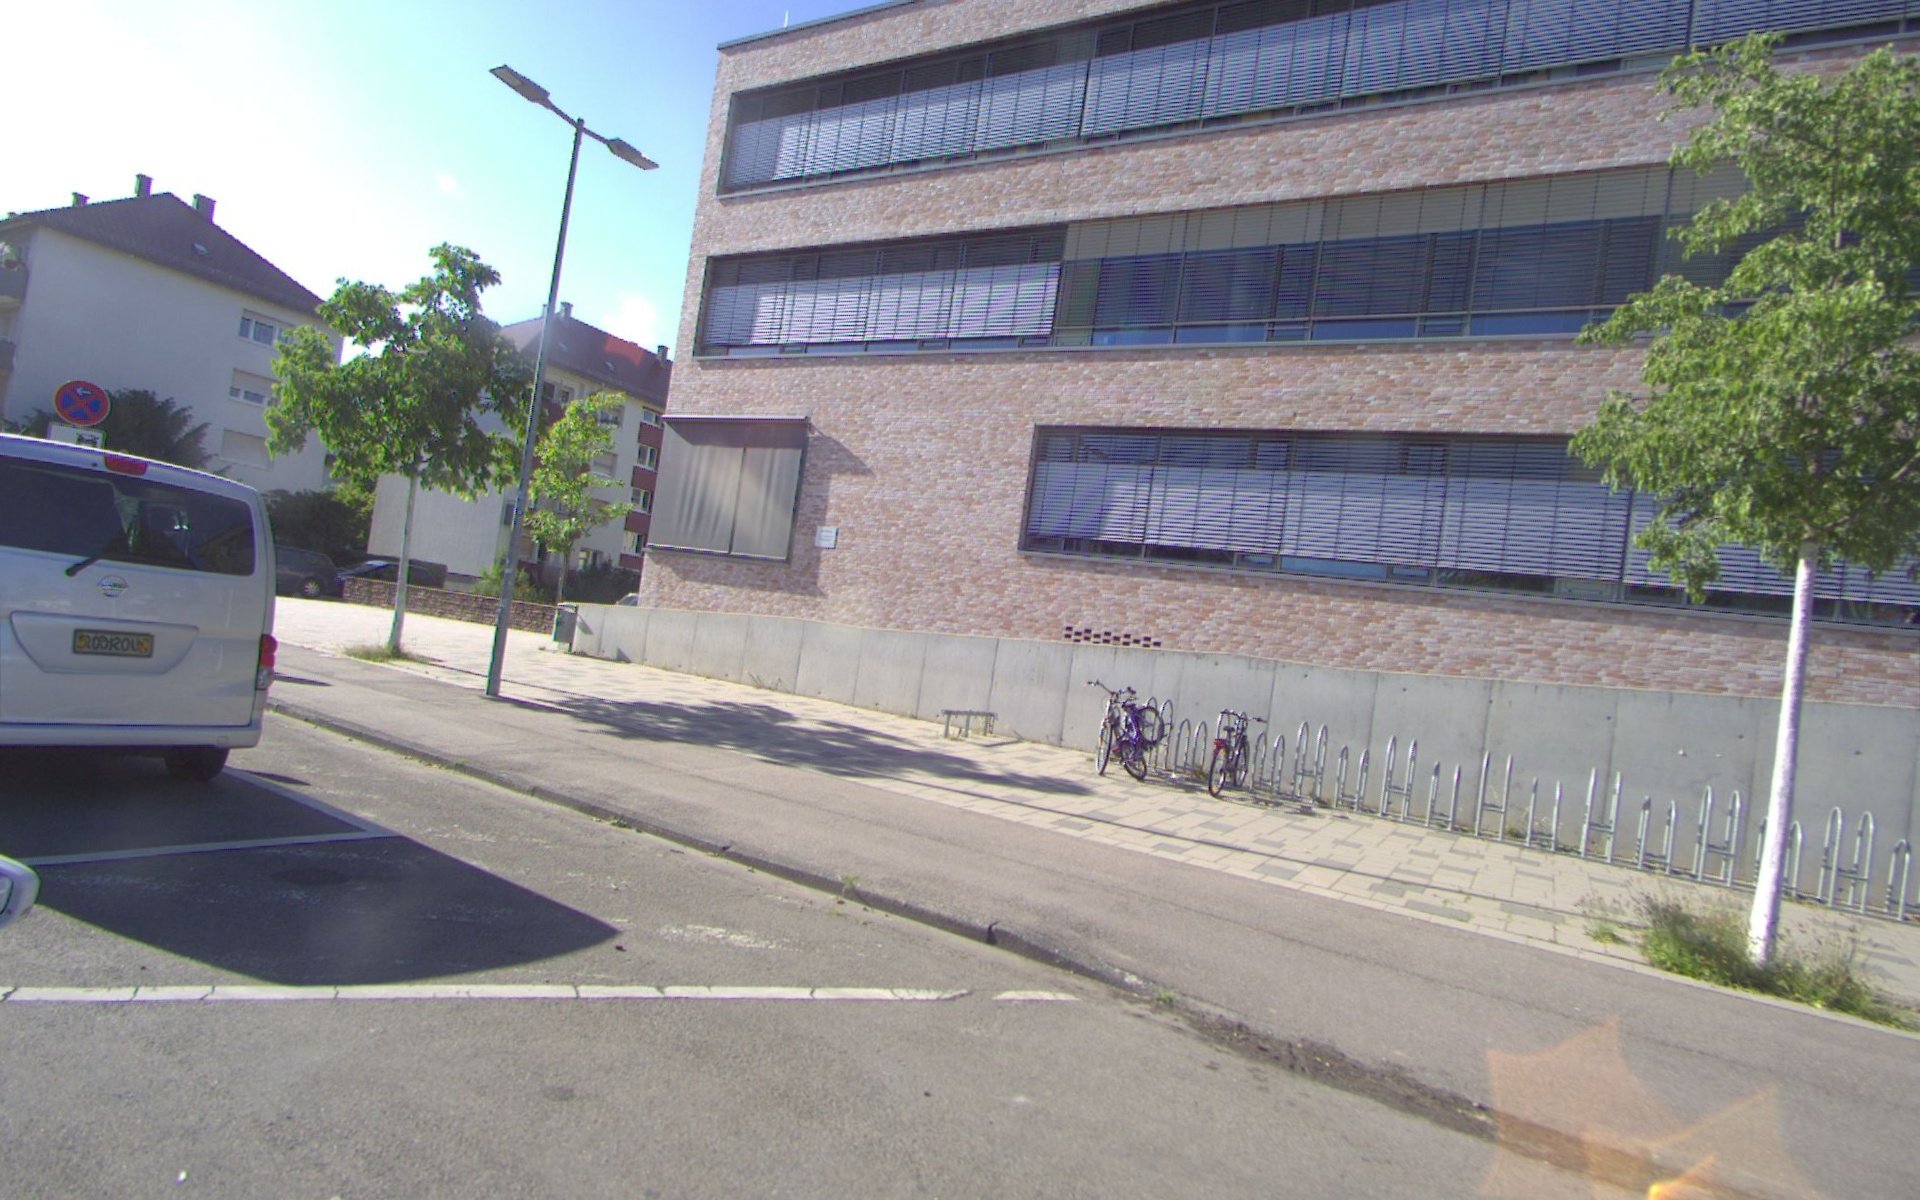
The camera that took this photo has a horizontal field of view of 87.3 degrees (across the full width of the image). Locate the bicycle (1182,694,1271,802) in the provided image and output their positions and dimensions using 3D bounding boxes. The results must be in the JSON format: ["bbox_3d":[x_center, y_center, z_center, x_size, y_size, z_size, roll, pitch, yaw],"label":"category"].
[{"bbox_3d":[3.224,1.726,12.052,0.491,1.121,1.797,7,0,29],"label":"bicycle"}]

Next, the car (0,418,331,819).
[{"bbox_3d":[-6.073,-0.034,6.301,4.342,1.875,1.798,6,-3,34],"label":"car"}]

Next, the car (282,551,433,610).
[{"bbox_3d":[-22.633,-0.695,37.983,1.769,1.557,4.493,5,-4,29],"label":"car"}]

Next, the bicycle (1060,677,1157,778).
[{"bbox_3d":[1.901,1.561,12.659,0.491,1.121,1.797,7,0,29],"label":"bicycle"}]

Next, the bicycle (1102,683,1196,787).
[{"bbox_3d":[2.357,1.614,12.384,0.491,1.121,1.797,7,0,29],"label":"bicycle"}]

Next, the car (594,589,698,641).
[{"bbox_3d":[-14.453,0.754,46.576,1.769,1.842,4.493,5,-4,29],"label":"car"}]
